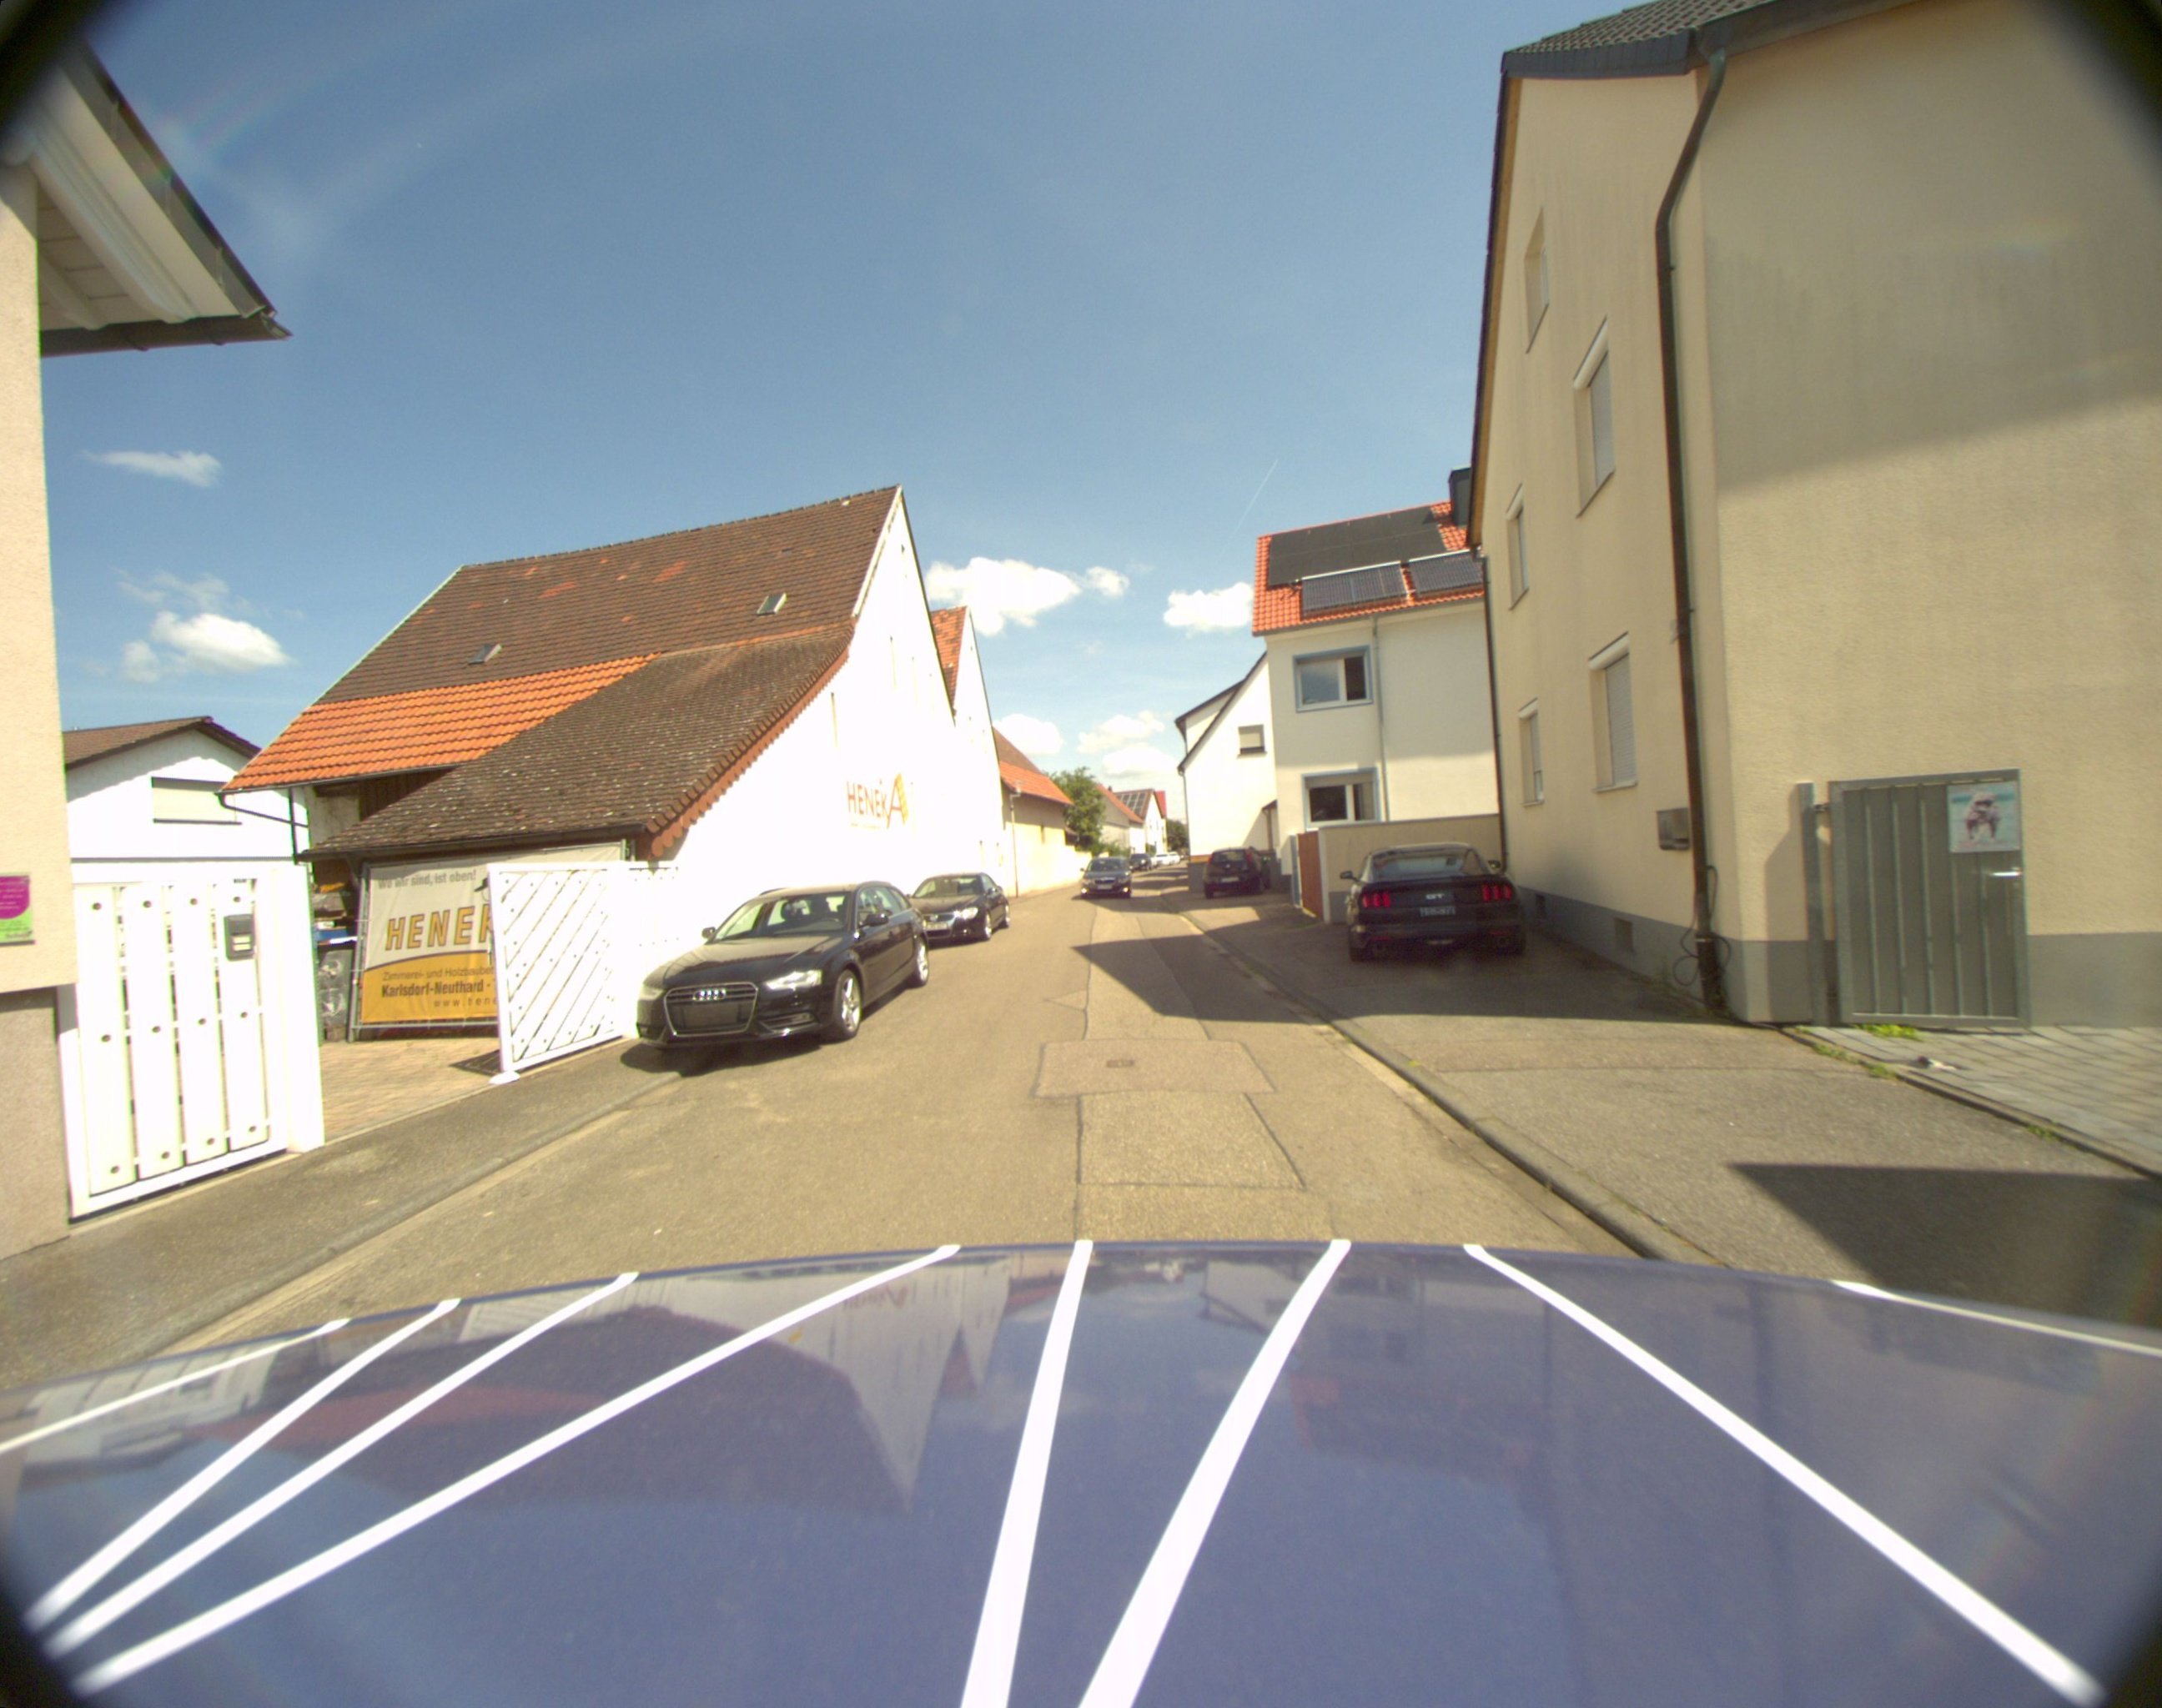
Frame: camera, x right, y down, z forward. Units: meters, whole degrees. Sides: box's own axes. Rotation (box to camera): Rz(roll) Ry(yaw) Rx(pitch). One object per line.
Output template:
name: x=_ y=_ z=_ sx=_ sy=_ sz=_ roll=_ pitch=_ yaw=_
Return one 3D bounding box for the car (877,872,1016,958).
car: x=-2.705 y=1.198 z=16.396 sx=1.900 sy=1.357 sz=4.415 roll=-4 pitch=0 yaw=3

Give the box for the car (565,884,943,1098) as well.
car: x=-3.015 y=1.179 z=8.360 sx=1.900 sy=1.357 sz=4.737 roll=-4 pitch=0 yaw=2

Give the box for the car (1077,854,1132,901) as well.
car: x=0.936 y=0.801 z=27.561 sx=1.784 sy=1.526 sz=4.711 roll=-1 pitch=0 yaw=4

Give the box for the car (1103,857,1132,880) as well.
car: x=2.613 y=0.996 z=53.992 sx=1.784 sy=1.470 sz=4.001 roll=-3 pitch=0 yaw=6

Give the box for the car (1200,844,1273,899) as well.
car: x=4.943 y=0.498 z=23.781 sx=1.640 sy=1.446 sz=3.791 roll=-5 pitch=-1 yaw=19

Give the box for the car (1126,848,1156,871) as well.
car: x=4.976 y=0.413 z=63.058 sx=1.783 sy=1.600 sz=4.003 roll=-6 pitch=0 yaw=12

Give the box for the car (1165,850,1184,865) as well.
car: x=11.811 y=0.421 z=95.585 sx=1.783 sy=1.491 sz=4.042 roll=-6 pitch=0 yaw=12

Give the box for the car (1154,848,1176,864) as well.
car: x=9.220 y=0.215 z=83.157 sx=1.783 sy=1.491 sz=4.042 roll=-6 pitch=0 yaw=12

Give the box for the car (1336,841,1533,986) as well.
car: x=4.458 y=0.620 z=10.041 sx=1.772 sy=1.341 sz=4.475 roll=-5 pitch=0 yaw=21
